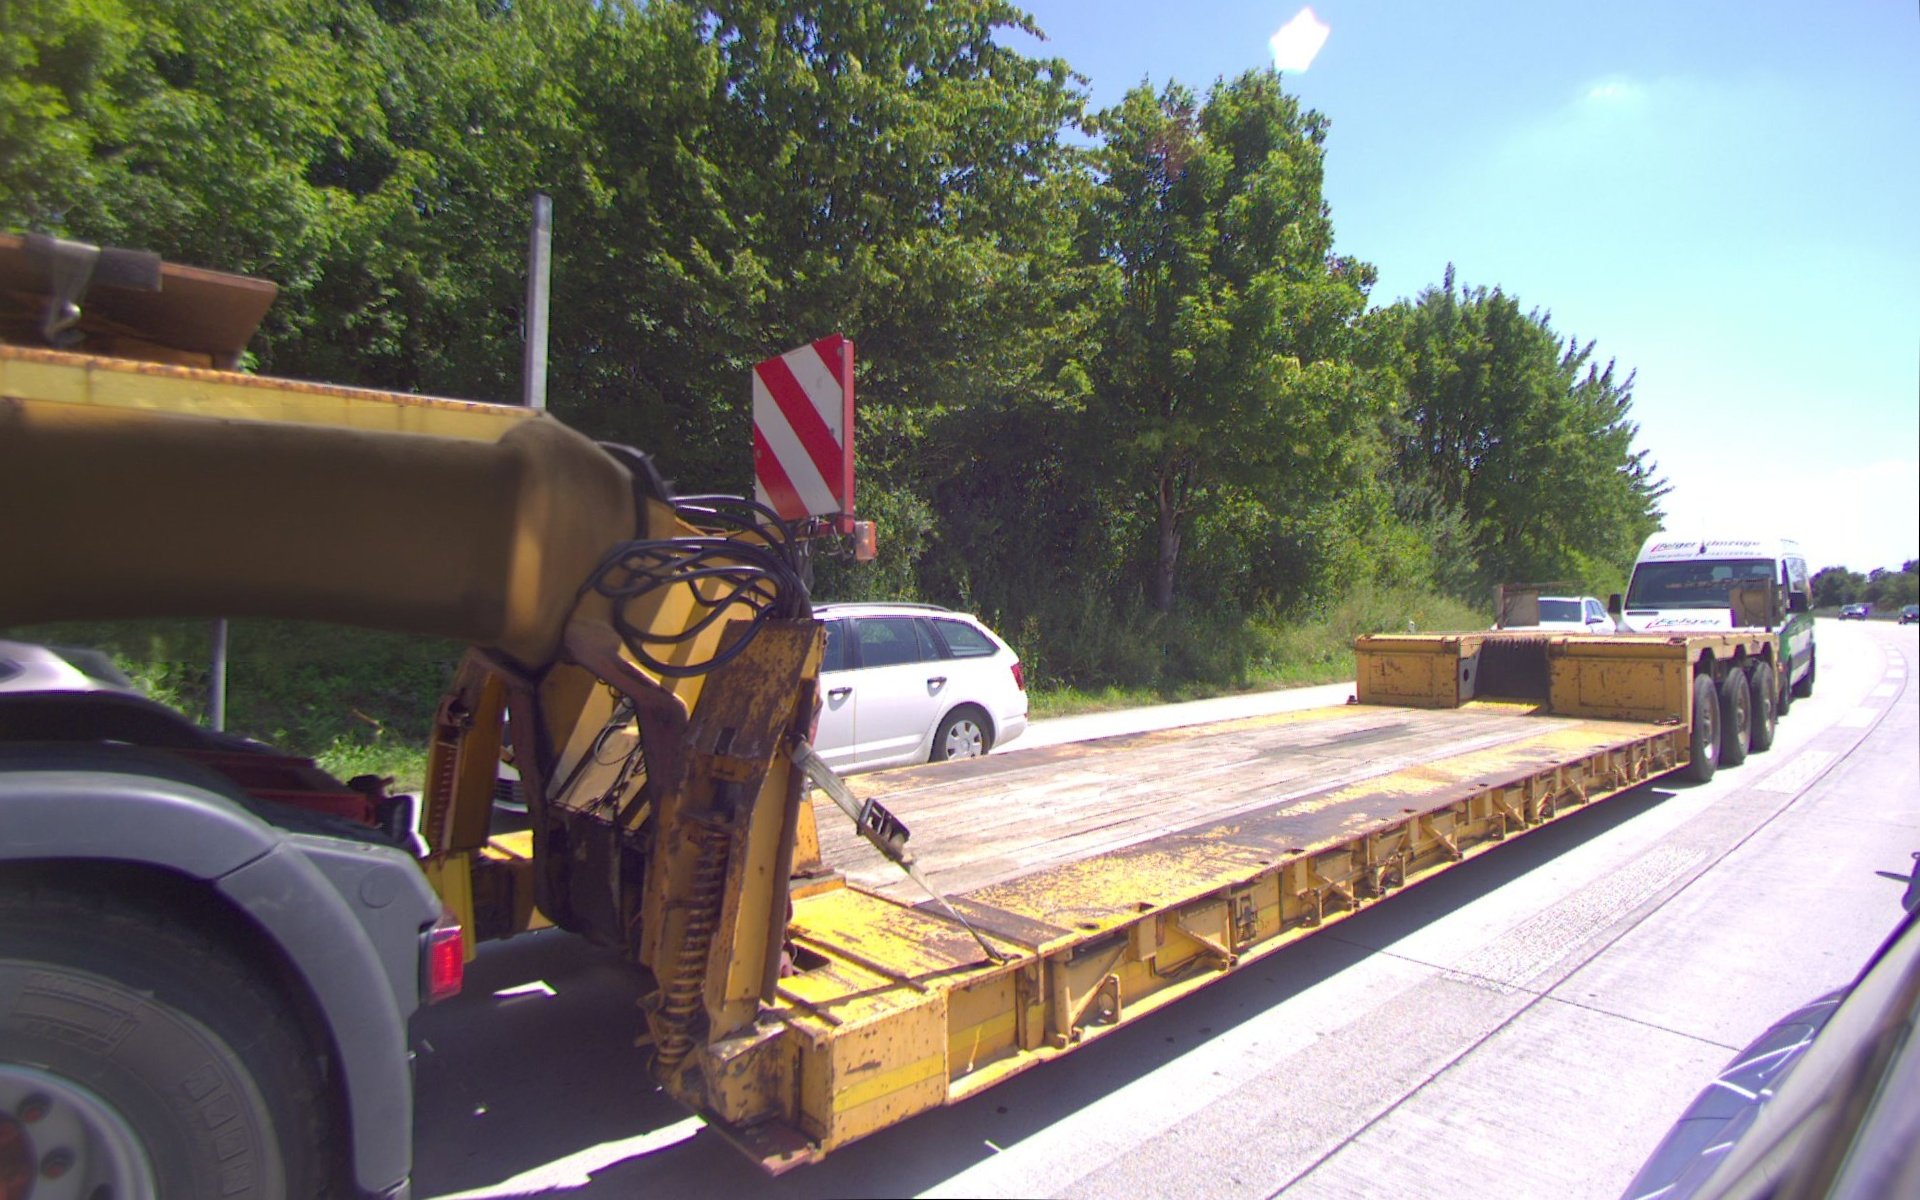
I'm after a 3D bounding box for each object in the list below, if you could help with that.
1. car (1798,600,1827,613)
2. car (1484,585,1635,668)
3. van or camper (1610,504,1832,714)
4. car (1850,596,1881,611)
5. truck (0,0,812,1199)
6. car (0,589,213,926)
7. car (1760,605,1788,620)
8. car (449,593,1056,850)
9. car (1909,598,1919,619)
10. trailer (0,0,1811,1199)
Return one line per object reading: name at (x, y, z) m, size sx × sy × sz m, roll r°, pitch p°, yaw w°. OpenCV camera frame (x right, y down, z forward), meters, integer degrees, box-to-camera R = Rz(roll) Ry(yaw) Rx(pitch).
car at (98.153, 0.747, 116.538) m, size 1.876 × 1.483 × 3.958 m, roll 0°, pitch 1°, yaw 30°
car at (12.801, 0.480, 21.508) m, size 1.768 × 1.581 × 4.297 m, roll 0°, pitch 0°, yaw 45°
van or camper at (11.728, 0.078, 15.394) m, size 2.063 × 2.606 × 5.815 m, roll 0°, pitch 0°, yaw 43°
car at (94.138, 0.394, 105.205) m, size 1.694 × 1.483 × 3.956 m, roll 0°, pitch 1°, yaw 31°
truck at (-4.036, -0.508, 0.850) m, size 7.342 × 3.820 × 3.017 m, roll 0°, pitch 0°, yaw -42°
car at (-5.828, 0.703, 4.169) m, size 4.290 × 1.480 × 1.770 m, roll -1°, pitch 1°, yaw -42°
car at (89.028, 1.357, 110.728) m, size 1.758 × 1.581 × 4.322 m, roll 0°, pitch 0°, yaw 30°
car at (-1.390, 0.692, 8.084) m, size 4.521 × 1.480 × 1.769 m, roll -1°, pitch 0°, yaw -43°
car at (75.024, 0.653, 78.380) m, size 1.617 × 1.504 × 3.951 m, roll 0°, pitch 1°, yaw 34°
trailer at (1.851, 0.101, 6.202) m, size 16.076 × 2.626 × 3.031 m, roll 0°, pitch 0°, yaw -42°
